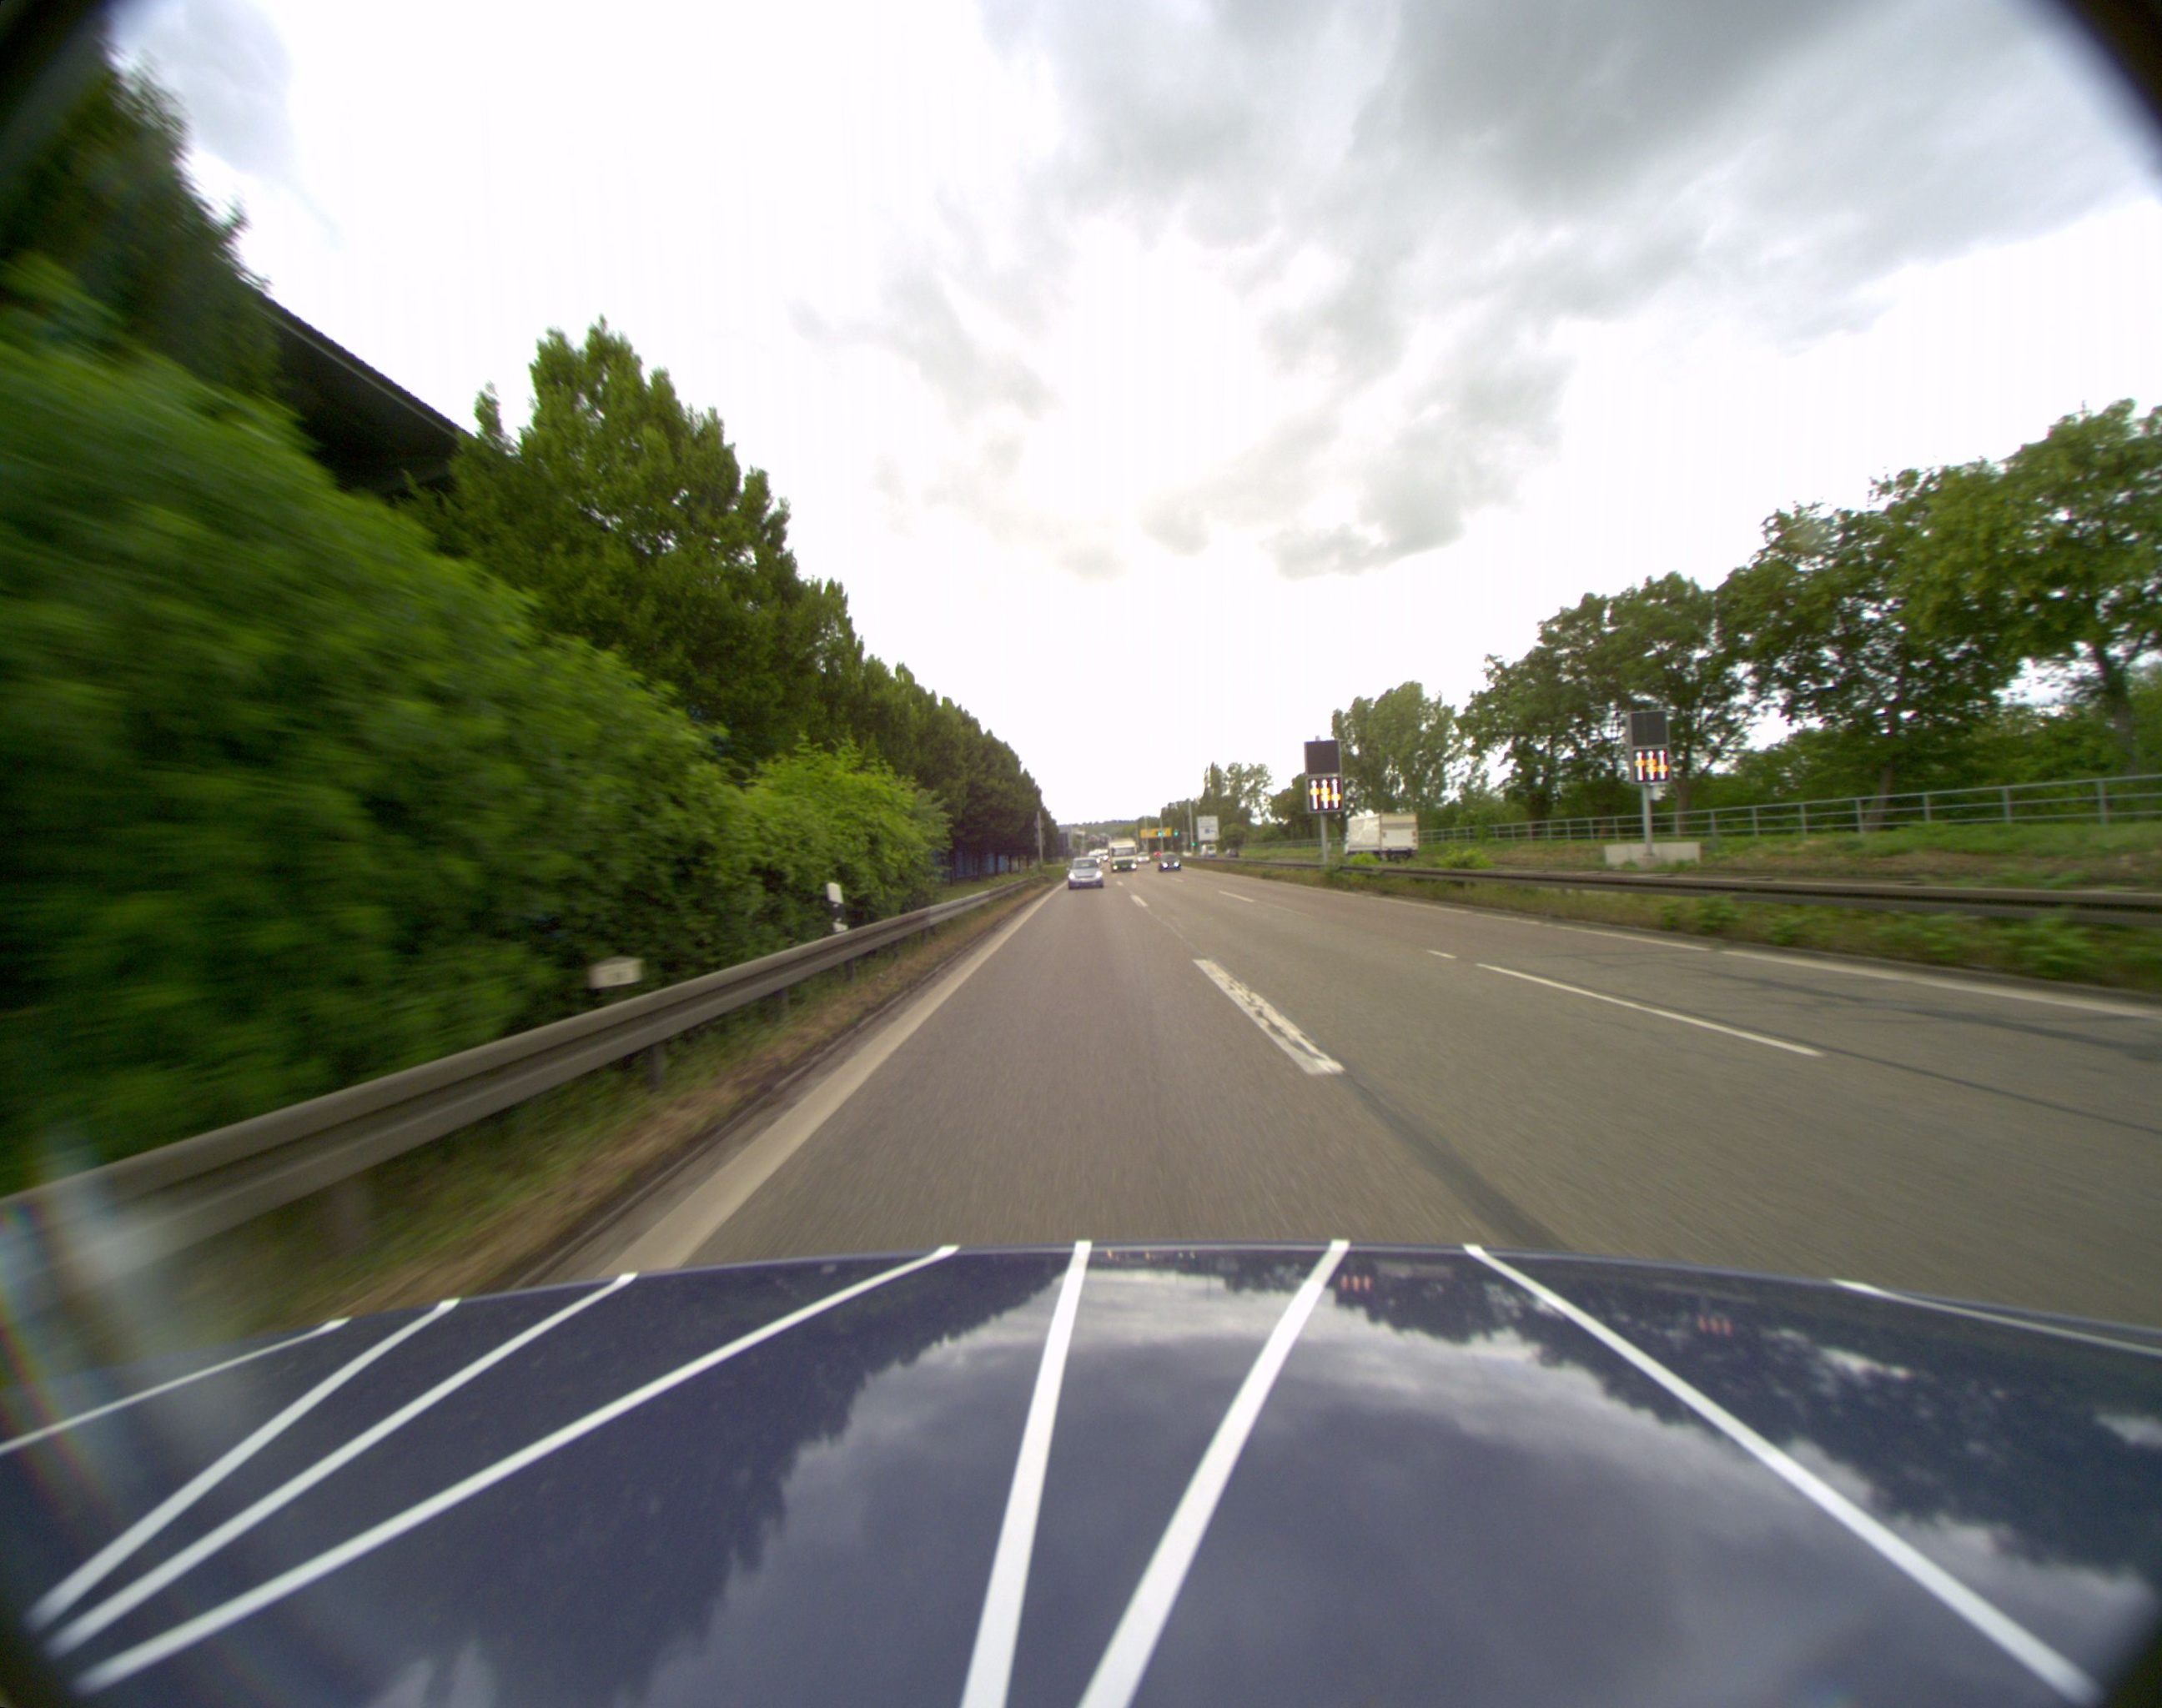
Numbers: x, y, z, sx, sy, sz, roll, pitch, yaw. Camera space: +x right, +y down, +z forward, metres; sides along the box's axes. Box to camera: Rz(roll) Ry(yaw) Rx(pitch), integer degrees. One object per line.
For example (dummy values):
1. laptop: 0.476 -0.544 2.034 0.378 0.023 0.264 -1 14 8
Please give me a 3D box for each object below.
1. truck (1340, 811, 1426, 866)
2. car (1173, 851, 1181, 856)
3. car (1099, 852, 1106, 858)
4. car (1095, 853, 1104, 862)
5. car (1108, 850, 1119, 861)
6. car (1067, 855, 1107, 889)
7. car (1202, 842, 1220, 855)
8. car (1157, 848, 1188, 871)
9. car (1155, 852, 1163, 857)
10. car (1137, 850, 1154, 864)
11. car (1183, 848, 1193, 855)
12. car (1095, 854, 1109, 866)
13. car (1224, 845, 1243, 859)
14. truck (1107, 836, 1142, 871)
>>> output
1. truck: 22.268 -1.095 56.709 2.896 3.558 9.588 -3 0 3
2. car: 27.272 -0.014 216.011 1.664 1.291 4.788 -4 0 0
3. car: 6.695 0.446 238.767 1.949 1.811 4.000 -2 0 0
4. car: 4.255 0.774 175.644 1.949 1.811 4.000 -4 0 0
5. car: 6.806 0.366 159.050 1.949 2.176 4.000 -4 0 0
6. car: 0.305 0.889 39.222 1.883 1.530 4.146 -4 0 0
7. car: 21.619 -0.903 126.798 2.231 1.936 5.475 -3 0 3
8. car: 7.484 0.471 62.505 1.883 1.714 4.146 -4 0 0
9. car: 22.462 0.045 219.748 1.664 1.291 4.788 -4 0 0
10. car: 8.797 0.443 103.309 1.883 1.714 4.146 -4 0 0
11. car: 21.669 -0.449 153.875 1.663 1.390 3.989 -2 0 1
12. car: 3.046 0.881 112.358 1.883 1.714 4.146 -4 0 0
13. car: 20.844 -0.226 103.944 1.883 1.714 4.147 -4 0 3
14. truck: 4.261 0.015 77.069 2.657 3.120 12.509 -4 0 0
